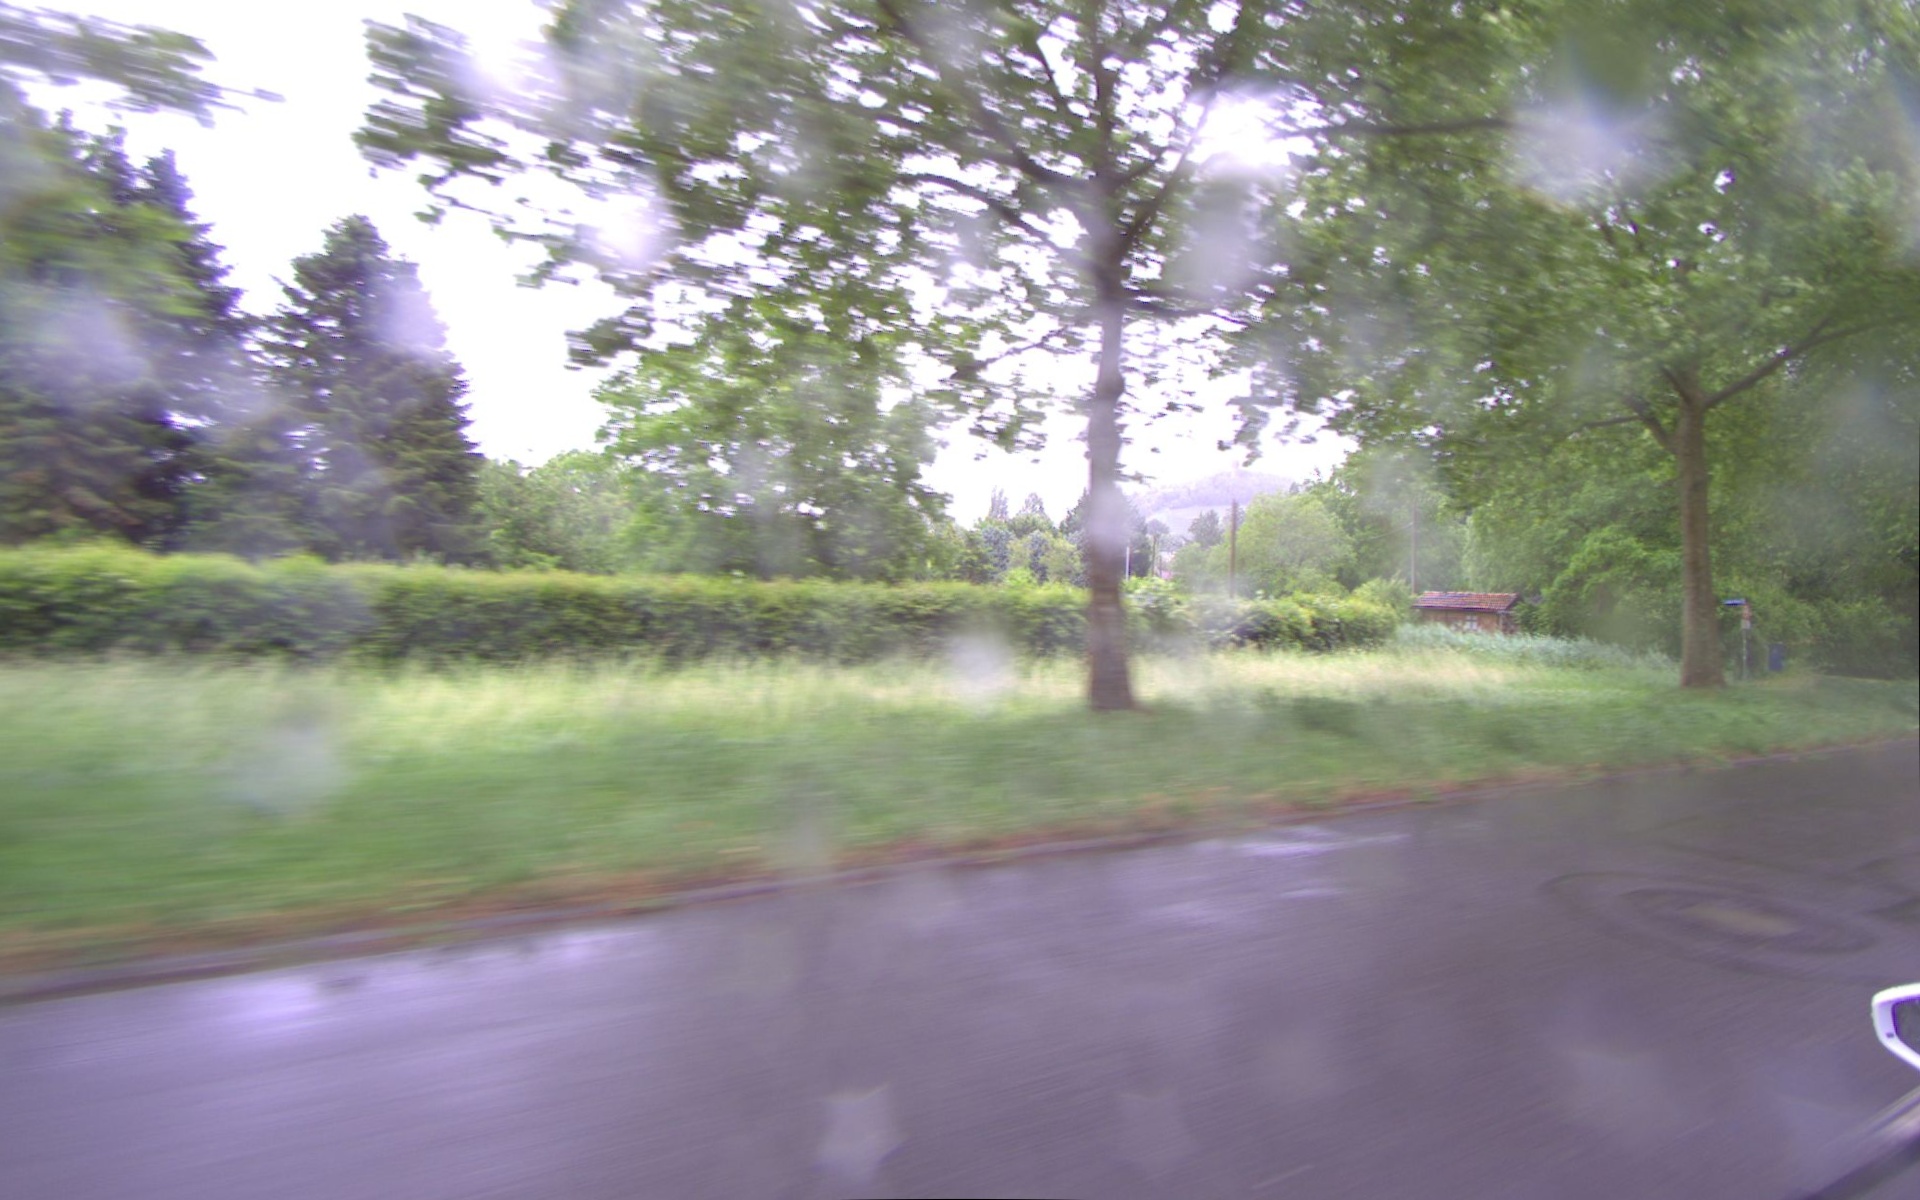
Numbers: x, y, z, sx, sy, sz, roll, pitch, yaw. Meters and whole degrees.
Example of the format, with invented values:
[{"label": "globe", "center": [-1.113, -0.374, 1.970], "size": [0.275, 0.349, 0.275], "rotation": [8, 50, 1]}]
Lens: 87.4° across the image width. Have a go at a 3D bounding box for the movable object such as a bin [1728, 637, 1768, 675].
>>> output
[{"label": "movable object such as a bin", "center": [31.307, 2.225, 39.910], "size": [0.956, 1.441, 0.957], "rotation": [1, 1, -34]}]
